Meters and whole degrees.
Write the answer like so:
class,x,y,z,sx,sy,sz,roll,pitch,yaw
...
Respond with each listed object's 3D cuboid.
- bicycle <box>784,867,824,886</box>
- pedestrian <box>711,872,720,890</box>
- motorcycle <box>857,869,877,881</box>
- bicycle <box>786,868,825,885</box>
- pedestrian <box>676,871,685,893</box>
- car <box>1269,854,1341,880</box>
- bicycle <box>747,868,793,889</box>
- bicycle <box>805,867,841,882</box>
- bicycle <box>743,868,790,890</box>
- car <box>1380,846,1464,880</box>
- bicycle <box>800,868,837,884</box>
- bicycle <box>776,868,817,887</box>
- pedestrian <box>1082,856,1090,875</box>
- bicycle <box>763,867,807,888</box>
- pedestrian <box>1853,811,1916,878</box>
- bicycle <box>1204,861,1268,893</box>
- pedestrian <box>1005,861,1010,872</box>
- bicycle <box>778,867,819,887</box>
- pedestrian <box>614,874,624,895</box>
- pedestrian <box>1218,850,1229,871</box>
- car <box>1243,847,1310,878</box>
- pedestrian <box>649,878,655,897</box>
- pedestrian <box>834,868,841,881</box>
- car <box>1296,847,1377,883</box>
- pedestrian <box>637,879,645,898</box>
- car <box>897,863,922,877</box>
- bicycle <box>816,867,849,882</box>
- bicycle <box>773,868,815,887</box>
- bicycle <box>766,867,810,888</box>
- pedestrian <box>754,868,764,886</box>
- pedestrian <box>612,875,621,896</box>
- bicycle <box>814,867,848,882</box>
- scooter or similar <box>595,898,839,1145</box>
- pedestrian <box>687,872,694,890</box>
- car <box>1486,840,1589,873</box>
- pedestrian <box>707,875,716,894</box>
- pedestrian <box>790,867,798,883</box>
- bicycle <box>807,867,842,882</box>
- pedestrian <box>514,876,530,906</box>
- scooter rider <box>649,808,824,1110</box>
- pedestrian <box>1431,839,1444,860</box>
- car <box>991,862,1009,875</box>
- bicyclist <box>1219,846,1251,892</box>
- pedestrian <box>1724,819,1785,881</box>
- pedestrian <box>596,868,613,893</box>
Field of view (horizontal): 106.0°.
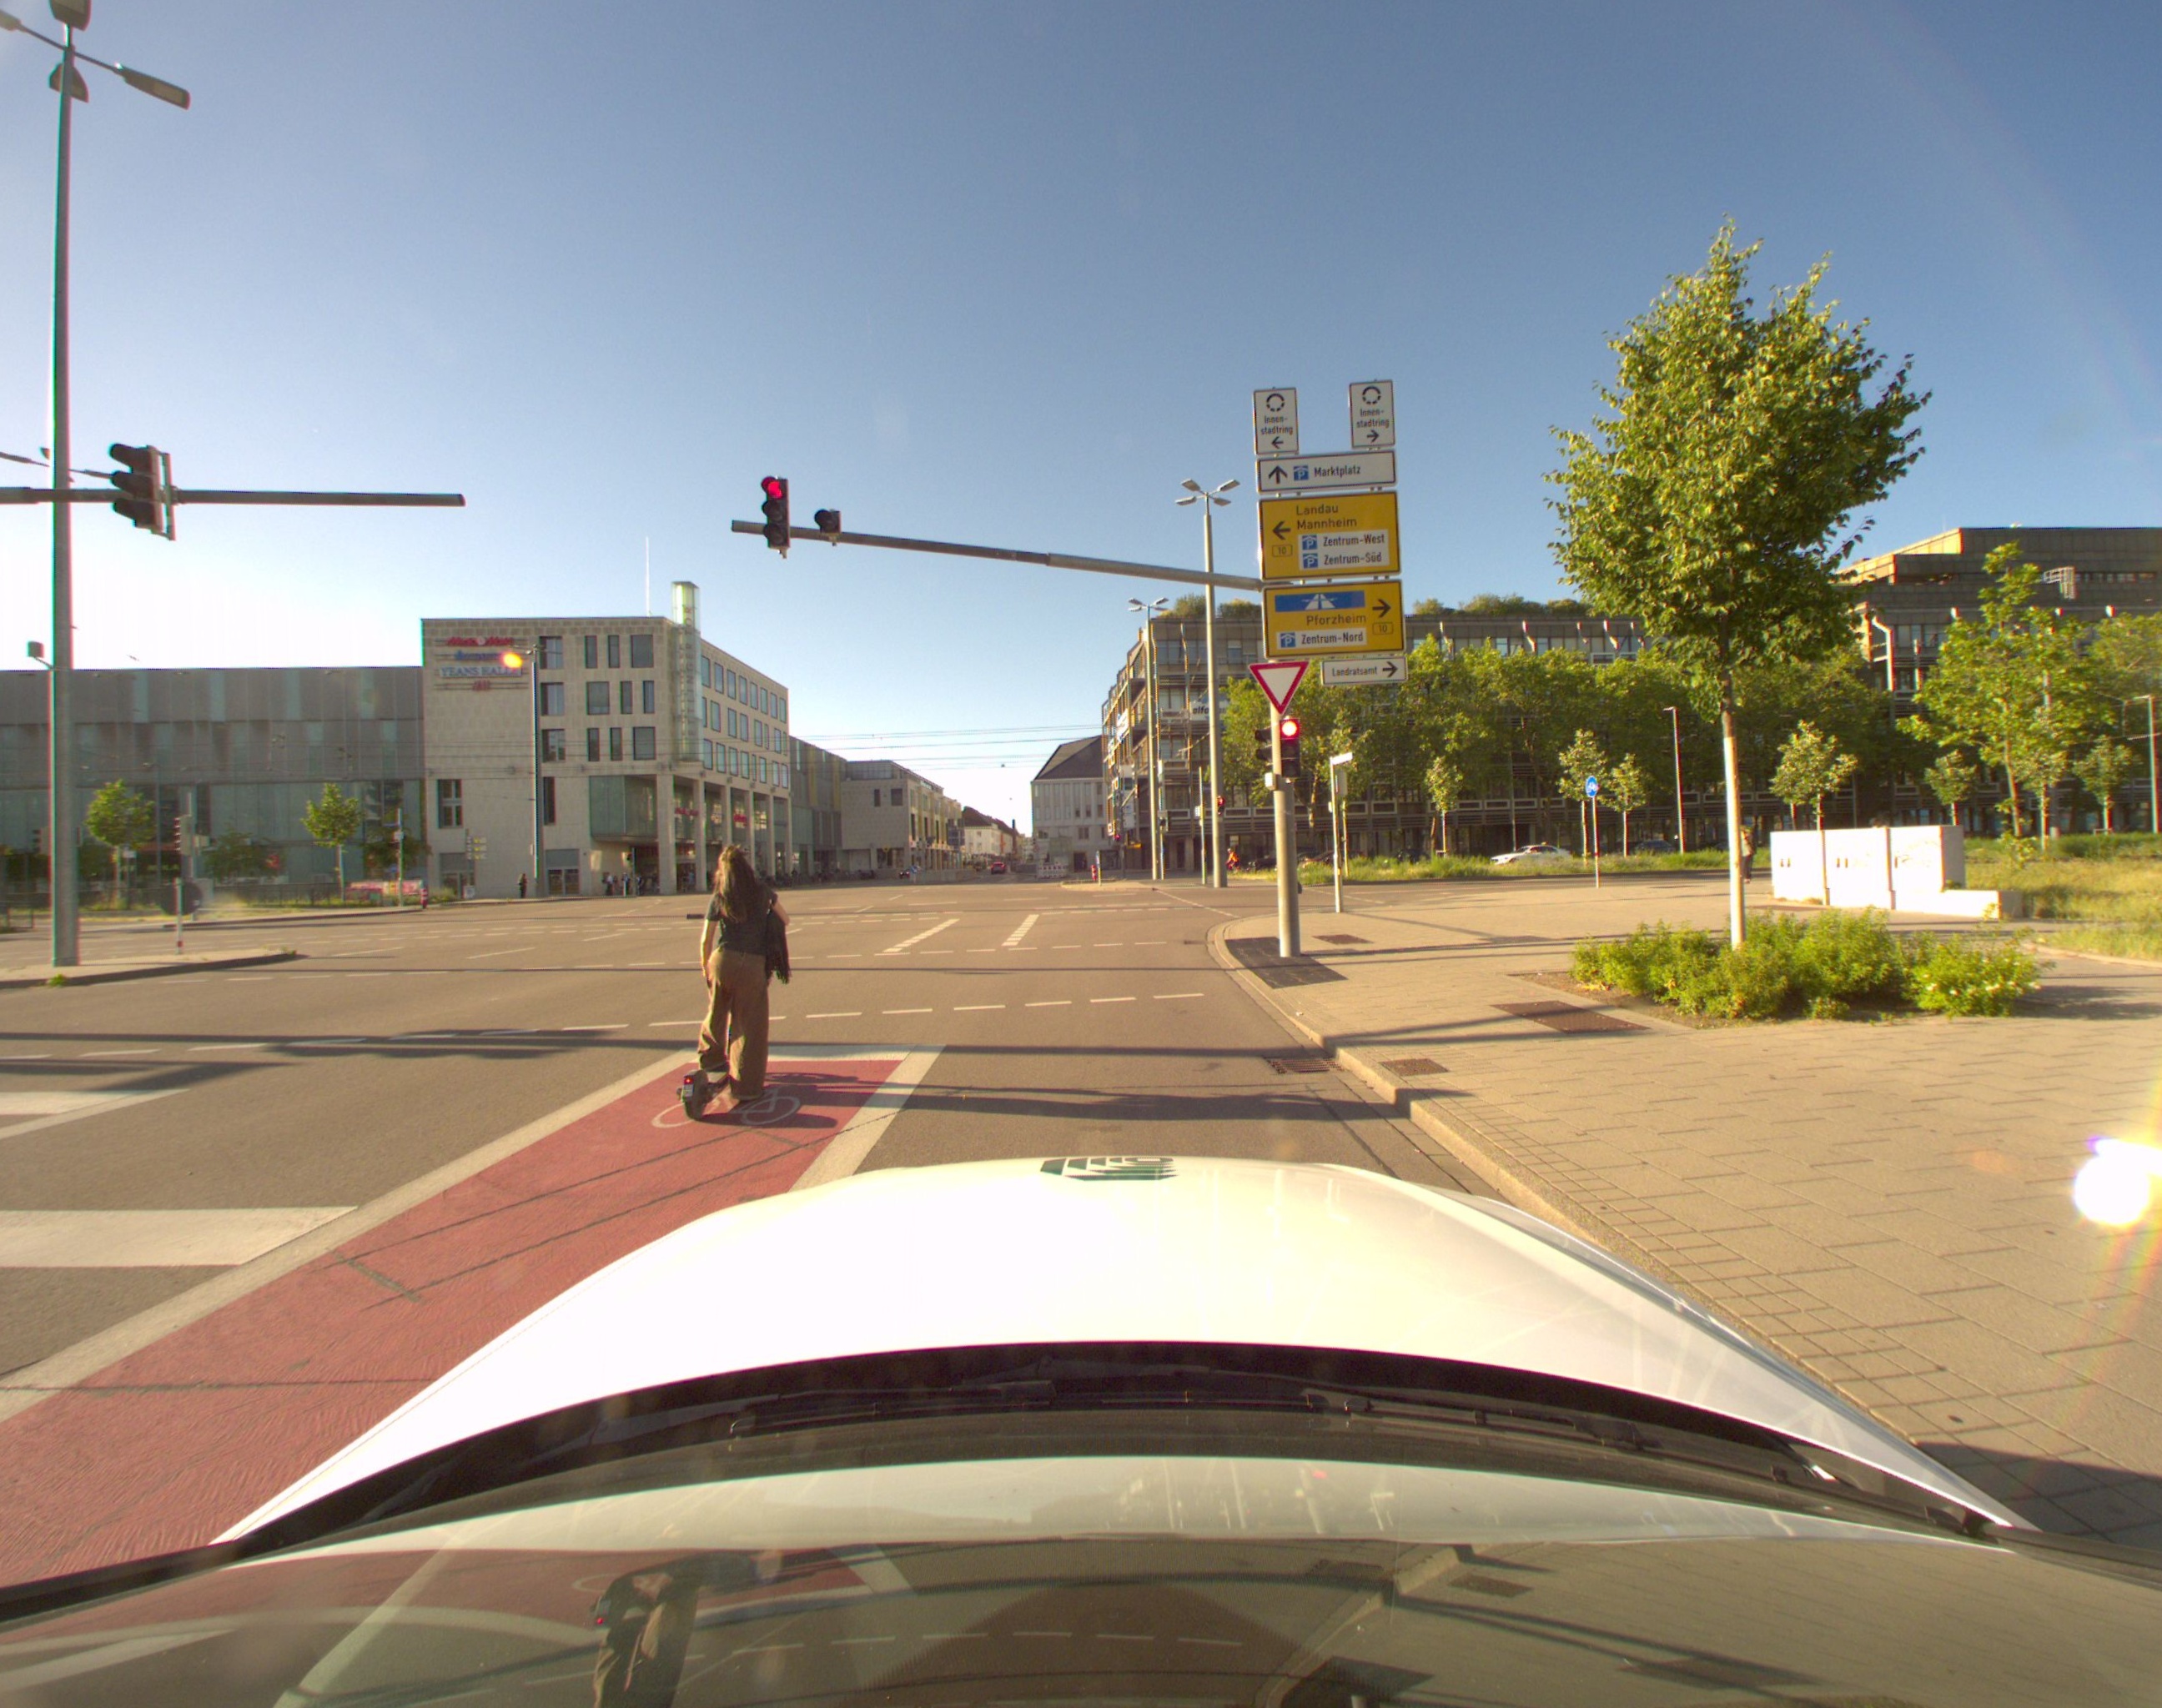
class,x,y,z,sx,sy,sz,roll,pitch,yaw
bicycle,-27.248,2.232,80.162,3.491,1.696,0.984,-2,0,-10
pedestrian,-32.179,2.384,71.700,0.480,1.510,0.513,-2,0,-3
motorcycle,-25.968,2.533,98.865,2.269,1.318,0.719,-2,0,-4
bicycle,-27.409,2.224,81.159,3.491,1.527,0.984,-2,0,-10
pedestrian,-30.399,2.149,61.836,0.544,1.642,0.545,-2,0,-31
car,13.853,0.778,50.474,3.976,1.508,1.867,-1,0,-2
bicycle,-26.908,2.093,70.479,3.488,1.696,1.114,-2,0,-7
bicycle,-27.653,2.210,87.448,3.491,1.527,0.984,-2,0,-10
bicycle,-26.731,2.095,69.292,3.488,1.696,1.114,-2,0,-7
car,21.407,0.556,51.246,4.435,2.014,1.998,0,-1,-4
bicycle,-27.547,2.289,85.580,3.491,1.527,0.984,-2,0,-10
bicycle,-26.855,2.197,76.857,3.491,1.696,0.984,-2,0,-10
pedestrian,0.422,0.975,69.697,0.661,1.658,0.755,-2,0,-1
bicycle,-26.143,2.068,71.953,3.488,1.696,1.114,-2,0,-7
pedestrian,21.398,-0.239,21.699,0.694,1.728,0.939,-2,0,-12
bicycle,8.928,1.311,47.066,3.488,1.659,0.929,-2,0,-7
pedestrian,-9.758,1.699,108.754,0.608,1.411,0.569,-2,0,-5
bicycle,-27.043,2.209,78.065,3.491,1.696,0.984,-2,0,-10
pedestrian,-35.759,2.346,63.025,0.421,1.565,0.456,-2,0,-4
pedestrian,11.528,0.557,65.964,0.728,1.658,0.649,-2,0,-5
car,12.841,0.556,53.622,3.975,2.014,1.999,0,-1,-1
pedestrian,-33.874,2.650,64.349,0.388,1.412,0.434,-2,0,-27
pedestrian,-30.345,2.565,101.651,0.696,1.642,0.693,-2,0,-9
car,14.454,0.615,46.208,3.975,2.014,1.999,0,-1,-1
pedestrian,-34.433,2.710,63.727,0.387,1.426,0.499,-2,0,-19
car,-19.963,1.888,94.838,1.987,1.486,4.000,-2,0,1
bicycle,-28.289,2.327,92.778,3.491,1.527,0.984,-2,0,-10
bicycle,-26.679,2.179,75.760,3.491,1.696,0.984,-2,0,-10
bicycle,-26.319,2.113,73.174,3.488,1.696,1.114,-2,0,-7
pedestrian,-30.127,2.170,76.139,0.788,1.642,0.689,-2,0,-27
pedestrian,-35.960,2.441,63.022,0.420,1.565,0.457,-2,0,2
bicycle,-28.172,2.290,91.747,3.491,1.527,0.984,-2,0,-10
scooter or similar,-2.173,0.933,5.141,0.725,1.202,1.665,-1,0,2
pedestrian,-34.077,2.343,71.142,0.385,1.585,0.367,-2,0,-3
car,28.894,0.139,51.652,5.424,2.014,2.097,0,-1,-1
pedestrian,-32.234,2.660,70.993,0.480,1.585,0.513,-2,0,-3
pedestrian,-30.088,2.174,85.444,0.652,1.642,0.693,-2,0,-7
bicycle,-27.922,2.210,88.577,3.491,1.527,0.984,-2,0,-10
pedestrian,-32.519,2.148,47.345,0.525,1.694,0.546,-2,0,-8
scooter rider,-2.175,0.624,5.238,0.726,1.775,0.811,-1,0,1
pedestrian,28.531,-0.337,65.196,0.662,1.658,0.739,-2,0,-5
car,-10.790,1.880,108.860,2.195,1.607,4.320,-2,0,-4
bicyclist,8.887,0.851,47.070,1.566,2.580,0.929,-2,0,-7
pedestrian,18.214,-0.104,22.052,0.801,1.630,0.939,-2,0,-12
pedestrian,-34.183,1.897,58.432,0.755,1.798,0.736,-2,0,-3
